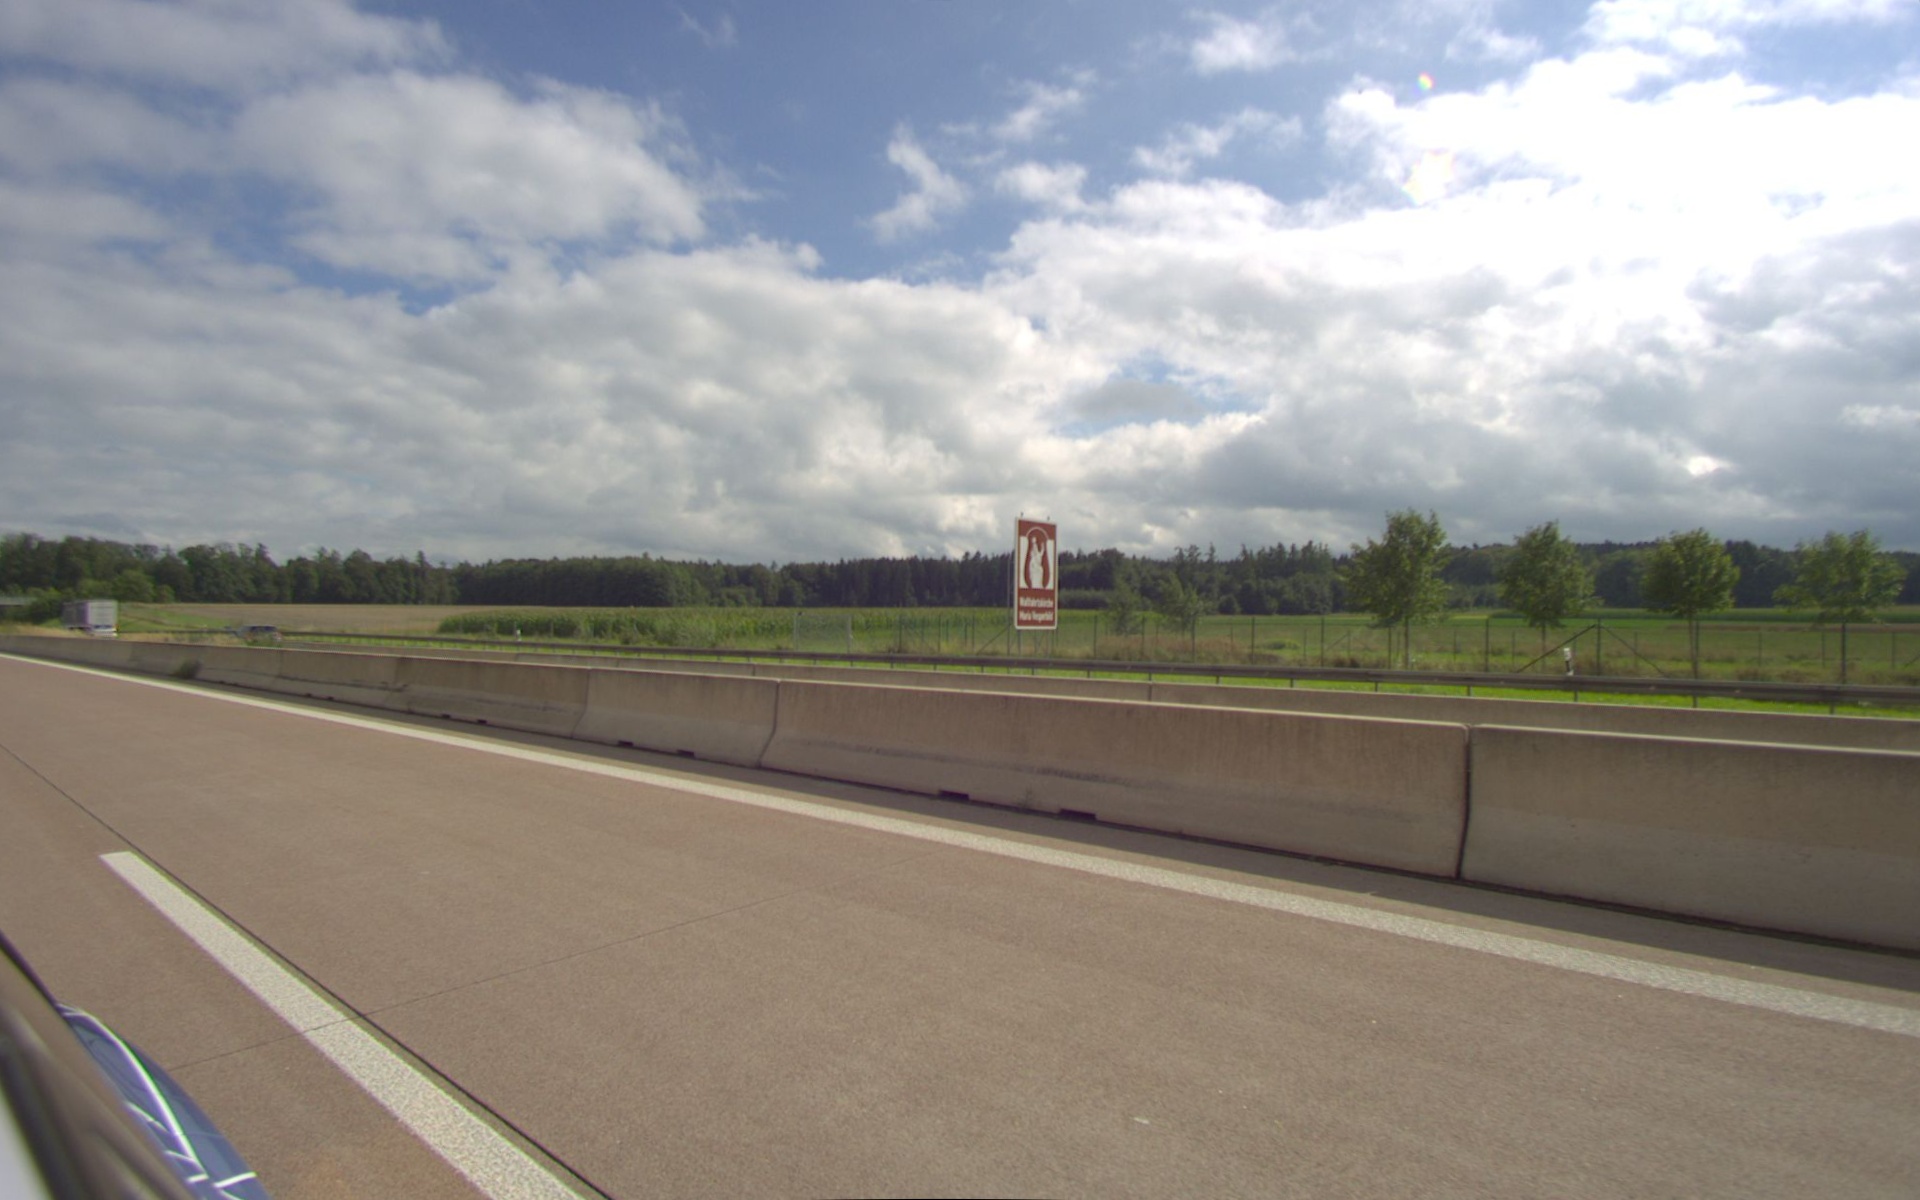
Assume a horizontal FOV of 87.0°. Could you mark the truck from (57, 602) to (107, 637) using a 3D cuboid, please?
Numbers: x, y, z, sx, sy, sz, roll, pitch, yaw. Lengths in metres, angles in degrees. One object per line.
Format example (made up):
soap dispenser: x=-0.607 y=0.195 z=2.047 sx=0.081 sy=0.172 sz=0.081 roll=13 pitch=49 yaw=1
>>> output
truck: x=-98.921 y=2.171 z=113.945 sx=7.463 sy=3.853 sz=3.374 roll=-1 pitch=-1 yaw=42

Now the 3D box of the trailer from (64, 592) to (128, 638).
trailer: x=-92.094 y=1.625 z=107.774 sx=13.866 sy=4.611 sz=3.369 roll=-1 pitch=-1 yaw=42

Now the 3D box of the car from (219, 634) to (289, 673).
car: x=-36.817 y=2.741 z=52.717 sx=4.193 sy=1.875 sz=1.973 roll=-1 pitch=-2 yaw=40

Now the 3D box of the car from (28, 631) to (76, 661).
car: x=-61.958 y=3.106 z=69.048 sx=3.998 sy=2.029 sz=1.972 roll=-1 pitch=-2 yaw=41

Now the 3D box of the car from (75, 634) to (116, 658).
car: x=-72.391 y=3.822 z=84.695 sx=3.997 sy=1.875 sz=1.973 roll=-1 pitch=-2 yaw=40
